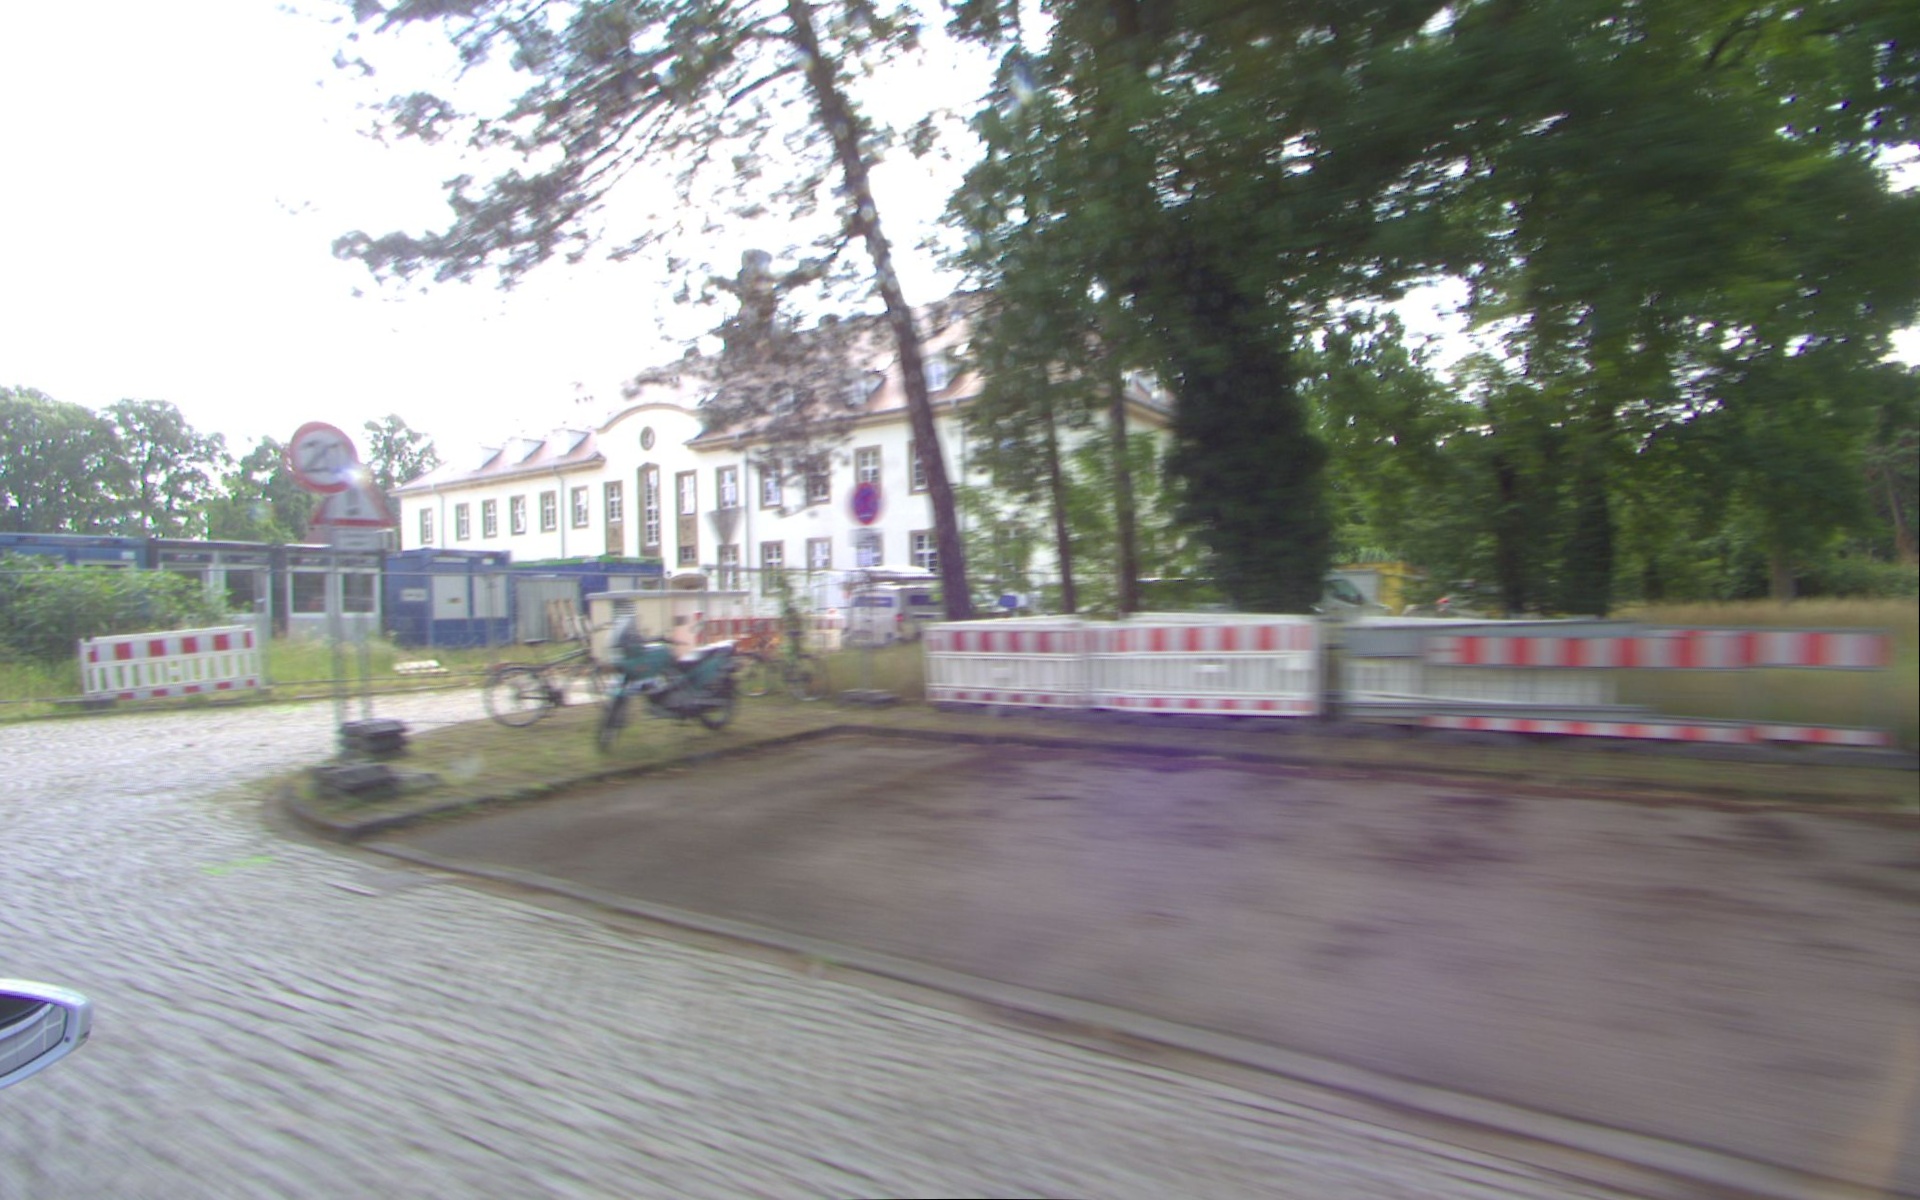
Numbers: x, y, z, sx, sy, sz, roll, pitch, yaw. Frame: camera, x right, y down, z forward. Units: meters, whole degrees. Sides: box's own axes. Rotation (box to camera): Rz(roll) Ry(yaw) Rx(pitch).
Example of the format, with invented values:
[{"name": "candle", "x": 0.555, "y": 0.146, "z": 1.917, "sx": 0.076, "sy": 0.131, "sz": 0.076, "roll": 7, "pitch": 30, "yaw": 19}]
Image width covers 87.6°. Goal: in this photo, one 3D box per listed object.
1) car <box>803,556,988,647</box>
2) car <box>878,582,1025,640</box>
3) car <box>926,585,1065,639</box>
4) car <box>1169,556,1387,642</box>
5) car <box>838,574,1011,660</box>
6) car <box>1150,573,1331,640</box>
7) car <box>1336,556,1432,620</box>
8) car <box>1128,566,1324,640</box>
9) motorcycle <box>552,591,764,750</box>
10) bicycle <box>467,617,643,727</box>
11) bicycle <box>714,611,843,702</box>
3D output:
[{"name": "car", "x": -2.084, "y": 0.129, "z": 31.208, "sx": 5.832, "sy": 2.589, "sz": 1.988, "roll": -1, "pitch": -2, "yaw": 36}, {"name": "car", "x": -0.329, "y": 0.416, "z": 34.068, "sx": 4.811, "sy": 1.848, "sz": 1.987, "roll": -1, "pitch": -2, "yaw": 36}, {"name": "car", "x": 1.266, "y": 0.489, "z": 36.759, "sx": 4.810, "sy": 1.848, "sz": 1.988, "roll": -1, "pitch": -2, "yaw": 35}, {"name": "car", "x": 9.989, "y": 0.006, "z": 31.895, "sx": 6.297, "sy": 2.611, "sz": 2.001, "roll": 0, "pitch": -1, "yaw": 4}, {"name": "car", "x": -0.768, "y": 0.386, "z": 25.239, "sx": 1.880, "sy": 1.946, "sz": 4.845, "roll": 1, "pitch": 1, "yaw": 34}, {"name": "car", "x": 8.017, "y": 0.217, "z": 29.049, "sx": 4.780, "sy": 1.848, "sz": 2.000, "roll": -1, "pitch": -1, "yaw": 6}, {"name": "car", "x": 15.918, "y": -0.351, "z": 37.372, "sx": 2.182, "sy": 2.122, "sz": 6.127, "roll": -1, "pitch": -2, "yaw": 34}, {"name": "car", "x": 6.955, "y": 0.117, "z": 26.645, "sx": 4.780, "sy": 1.848, "sz": 2.000, "roll": -1, "pitch": -1, "yaw": 6}, {"name": "motorcycle", "x": -3.116, "y": 0.663, "z": 10.629, "sx": 0.745, "sy": 1.505, "sz": 2.274, "roll": 0, "pitch": 1, "yaw": 28}, {"name": "bicycle", "x": -4.941, "y": 0.834, "z": 12.282, "sx": 1.882, "sy": 1.213, "sz": 0.651, "roll": -1, "pitch": 1, "yaw": -38}, {"name": "bicycle", "x": -2.567, "y": 0.762, "z": 14.046, "sx": 1.879, "sy": 1.185, "sz": 0.640, "roll": -1, "pitch": 1, "yaw": 36}]
